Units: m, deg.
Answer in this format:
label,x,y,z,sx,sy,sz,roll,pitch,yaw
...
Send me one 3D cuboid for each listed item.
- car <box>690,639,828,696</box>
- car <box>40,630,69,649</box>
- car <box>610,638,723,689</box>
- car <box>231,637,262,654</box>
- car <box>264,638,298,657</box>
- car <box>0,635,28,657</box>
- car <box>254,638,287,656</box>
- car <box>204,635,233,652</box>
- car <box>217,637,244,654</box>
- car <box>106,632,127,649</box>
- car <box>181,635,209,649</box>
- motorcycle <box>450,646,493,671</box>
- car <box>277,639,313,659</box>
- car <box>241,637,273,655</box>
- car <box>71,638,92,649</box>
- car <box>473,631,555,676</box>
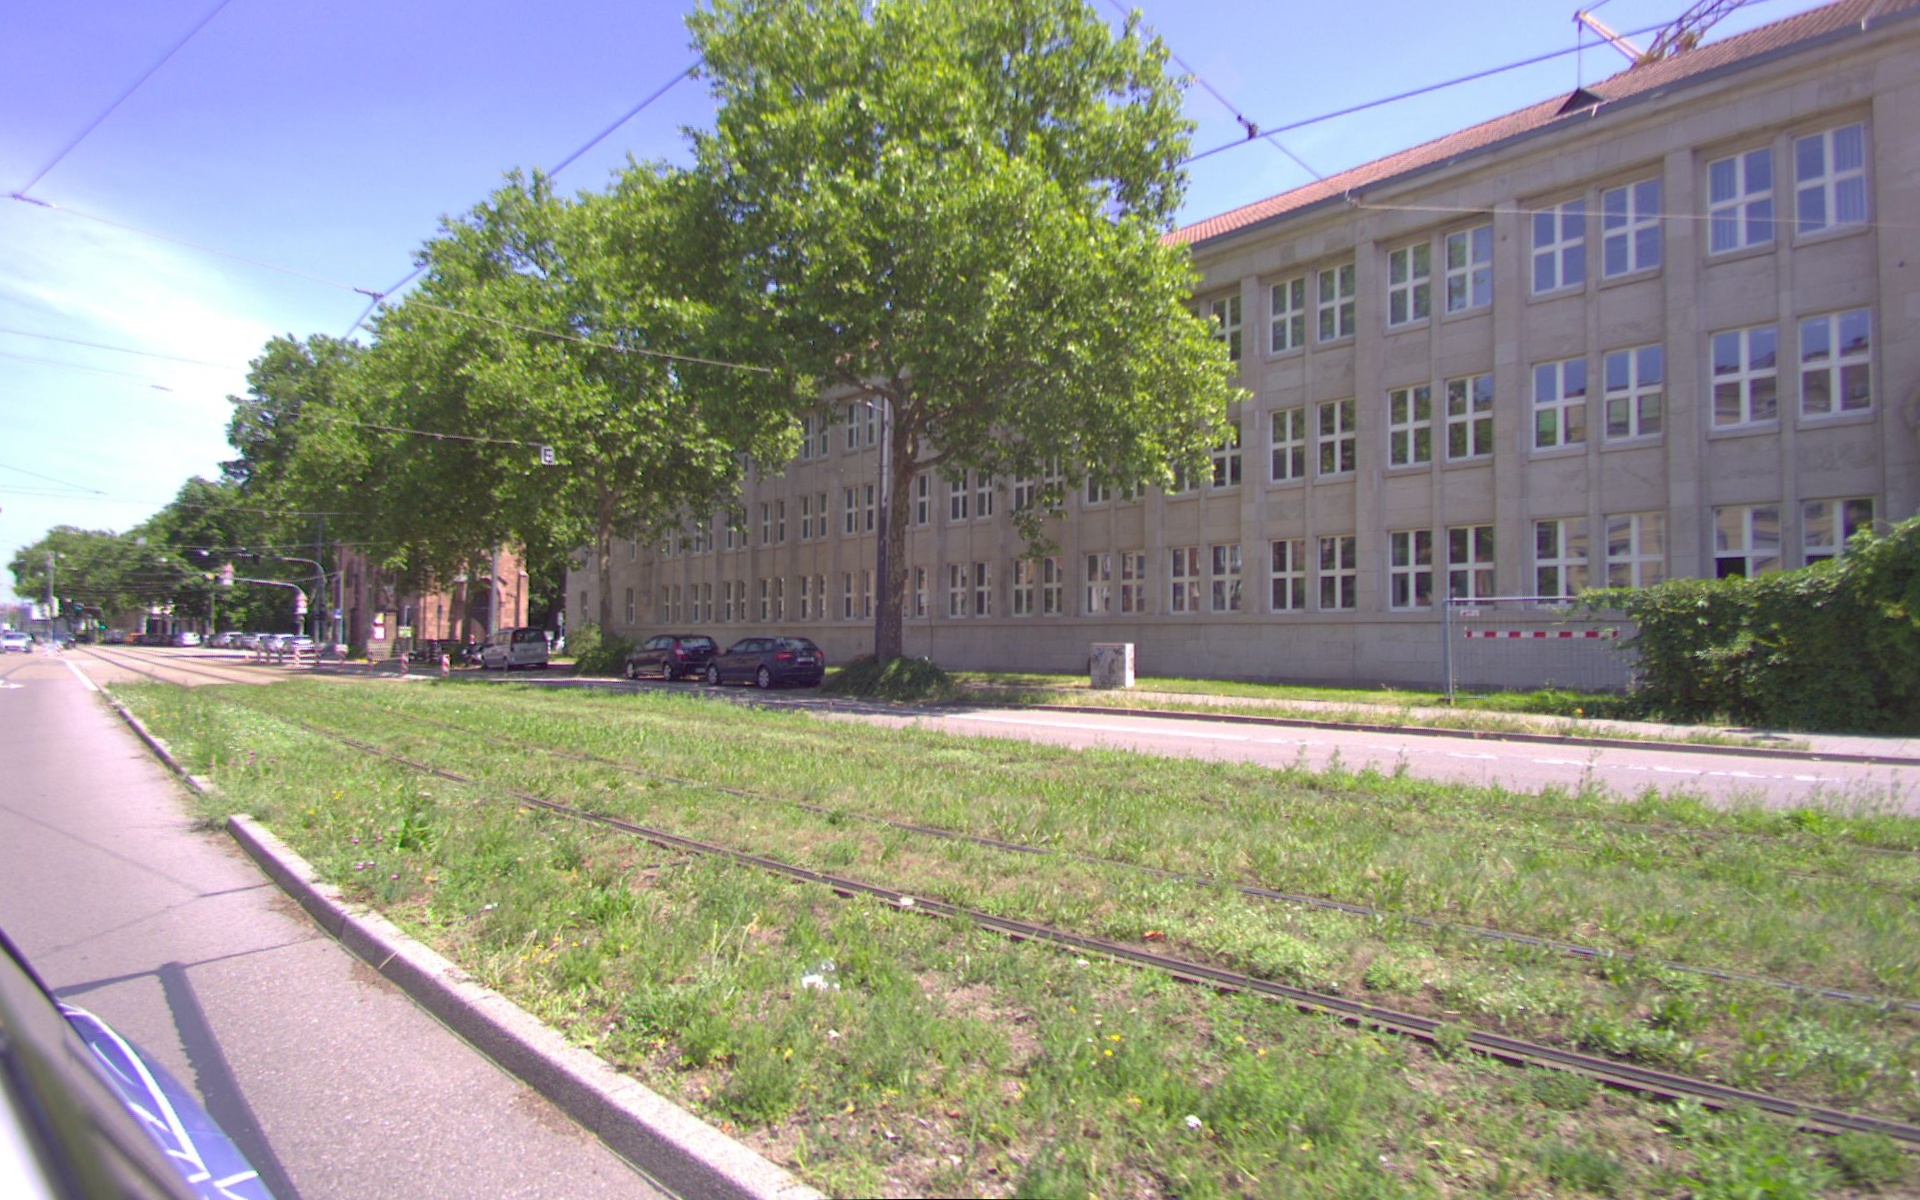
label,x,y,z,sx,sy,sz,roll,pitch,yaw
car,-5.634,1.805,28.024,4.324,1.434,1.570,-2,-3,44
car,-77.464,3.339,86.605,1.773,1.586,4.005,1,-3,-41
car,-9.389,1.967,32.159,1.741,1.494,4.328,1,-3,-42
car,-65.749,4.140,93.229,1.722,1.535,3.756,2,-3,-44
car,-54.958,3.838,81.892,1.638,1.470,4.063,2,-3,-43
car,-68.978,3.338,73.515,1.773,1.586,4.005,1,-3,-41
car,-58.257,3.948,85.435,1.639,1.470,4.062,2,-3,-44
car,-77.902,4.580,106.343,1.970,1.731,4.004,2,-3,-43
car,-72.923,4.518,101.136,1.721,1.665,3.910,1,-3,-42
car,-117.127,5.571,140.534,3.763,2.314,1.796,-2,-3,45
car,-88.872,4.904,117.591,4.001,1.575,1.950,-2,-3,44
motorcycle,-22.355,2.673,46.382,0.721,1.076,1.862,-1,-1,16
car,-51.461,3.791,78.254,1.638,1.470,4.225,2,-3,-43
car,-62.126,4.045,89.414,1.722,1.470,3.756,2,-3,-44
car,-119.484,5.917,137.634,4.348,1.405,1.726,-2,-2,44
car,-18.961,2.233,42.928,1.969,1.825,4.307,1,-3,-41
